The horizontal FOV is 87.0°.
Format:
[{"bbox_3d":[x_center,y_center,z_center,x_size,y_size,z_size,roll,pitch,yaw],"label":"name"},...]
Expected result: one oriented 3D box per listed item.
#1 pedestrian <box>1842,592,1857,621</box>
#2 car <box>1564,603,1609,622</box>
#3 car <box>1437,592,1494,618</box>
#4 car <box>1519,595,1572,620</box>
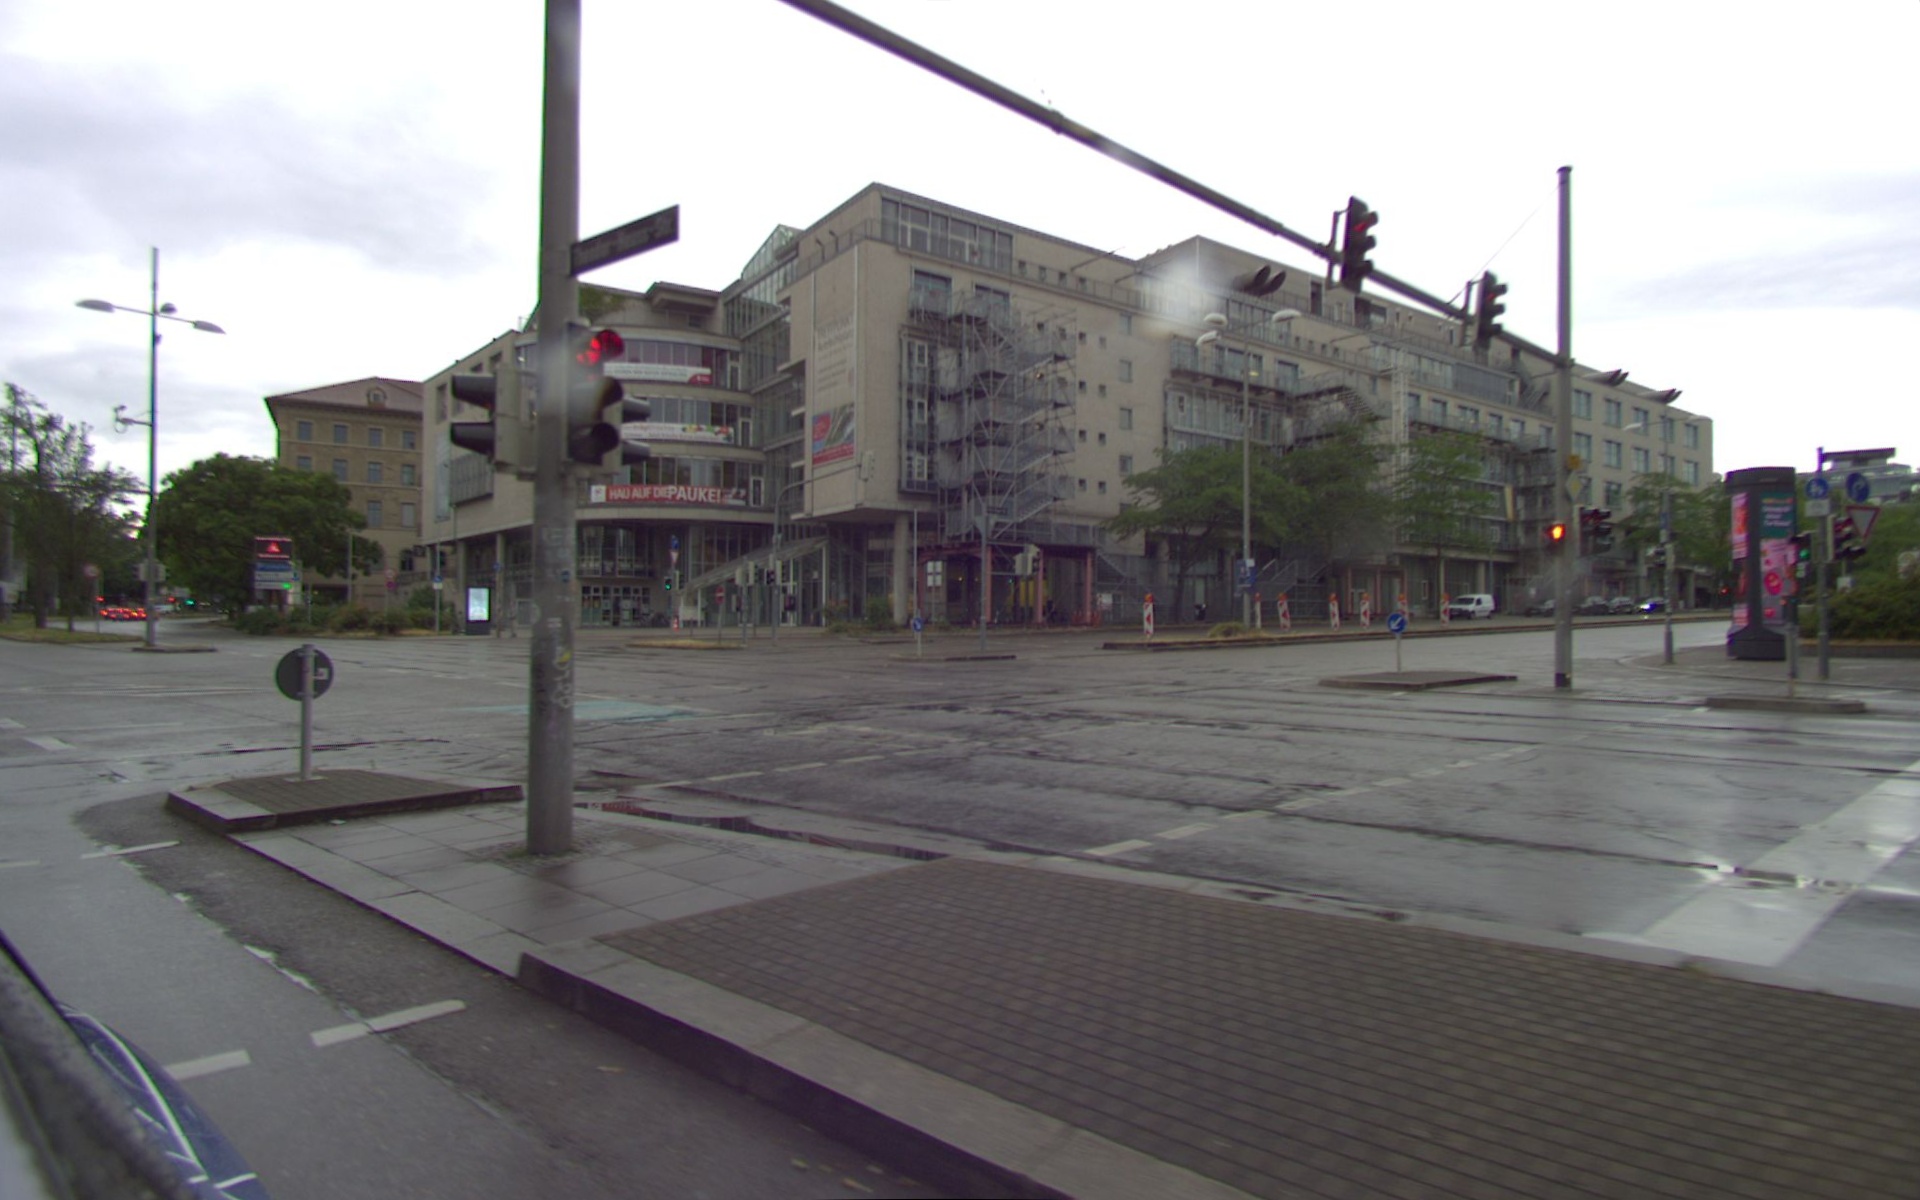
[{"bbox_3d":[62.603,0.432,71.227,0.682,2.029,0.617,0,-1,-36],"label":"pedestrian"},{"bbox_3d":[51.107,1.025,82.558,4.267,1.522,1.762,0,-1,-38],"label":"car"},{"bbox_3d":[36.334,0.339,72.658,4.267,1.807,2.004,0,-1,-38],"label":"car"},{"bbox_3d":[44.746,0.560,77.298,4.267,1.807,2.004,0,-1,-38],"label":"car"}]
